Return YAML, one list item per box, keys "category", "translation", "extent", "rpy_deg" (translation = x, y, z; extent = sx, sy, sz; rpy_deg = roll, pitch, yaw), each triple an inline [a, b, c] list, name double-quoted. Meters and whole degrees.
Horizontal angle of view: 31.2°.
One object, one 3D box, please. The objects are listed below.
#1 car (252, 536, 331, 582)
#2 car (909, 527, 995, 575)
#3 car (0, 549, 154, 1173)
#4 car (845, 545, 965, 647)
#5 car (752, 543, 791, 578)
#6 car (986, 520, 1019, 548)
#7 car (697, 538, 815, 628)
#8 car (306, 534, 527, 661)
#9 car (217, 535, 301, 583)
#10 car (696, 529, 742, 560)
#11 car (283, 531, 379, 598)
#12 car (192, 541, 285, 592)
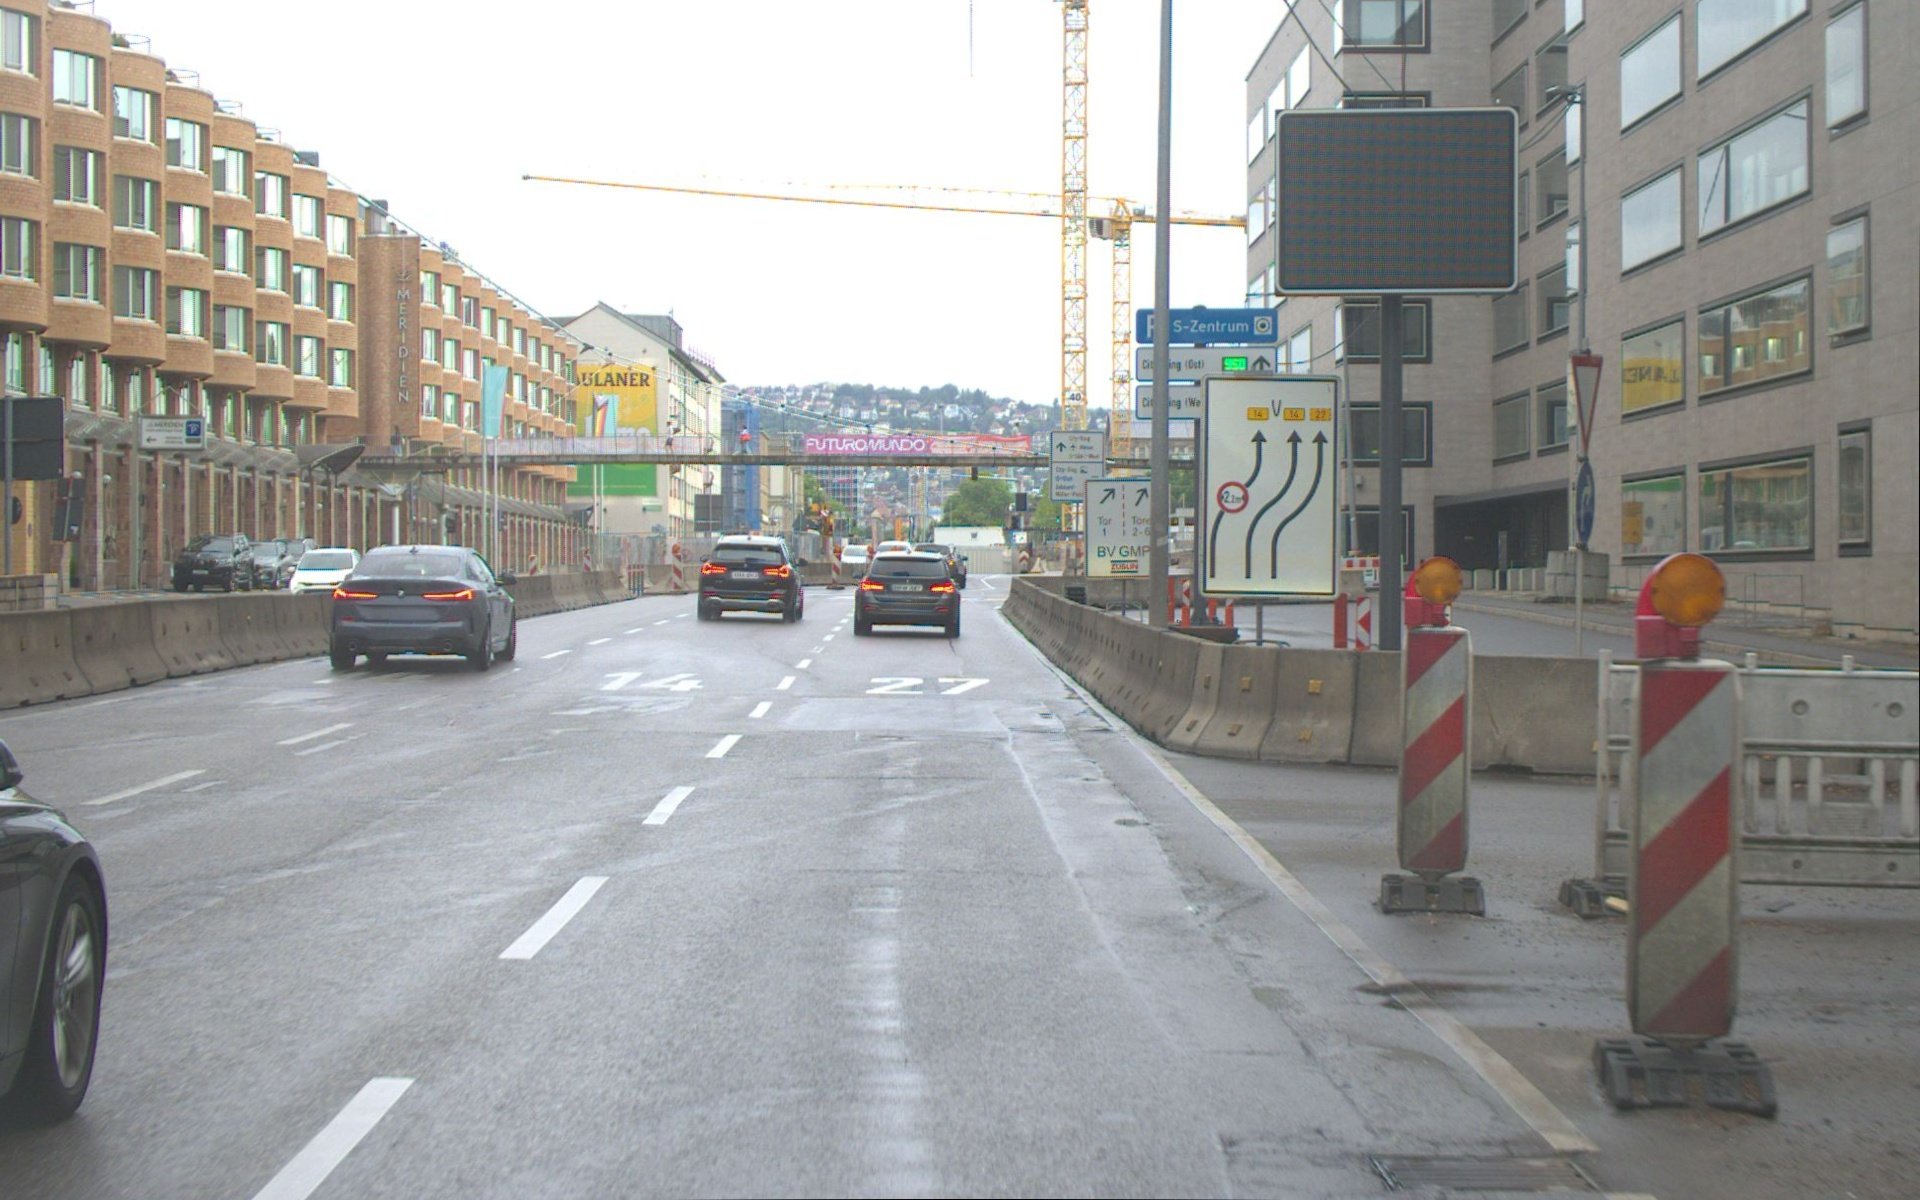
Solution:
- category: "car"
  translation: [-23.921, -1.459, 123.224]
  extent: [1.993, 1.614, 4.318]
  rpy_deg: [0, 1, 0]
- category: "car"
  translation: [-0.261, -1.730, 122.491]
  extent: [1.902, 1.687, 3.996]
  rpy_deg: [0, 1, 18]
- category: "car"
  translation: [-3.068, 0.598, 7.074]
  extent: [1.791, 1.421, 4.613]
  rpy_deg: [1, 1, -1]
- category: "car"
  translation: [-0.920, -0.089, 59.202]
  extent: [1.900, 1.687, 4.000]
  rpy_deg: [0, 1, 1]
- category: "car"
  translation: [-10.956, -2.274, 199.844]
  extent: [1.993, 2.007, 4.000]
  rpy_deg: [0, 1, 1]
- category: "car"
  translation: [2.664, -4.123, 214.642]
  extent: [1.900, 1.687, 4.000]
  rpy_deg: [0, 1, 3]
- category: "car"
  translation: [-3.941, -0.346, 67.014]
  extent: [1.900, 1.687, 4.000]
  rpy_deg: [0, 1, 3]
- category: "car"
  translation: [-6.364, -0.050, 40.678]
  extent: [1.791, 1.421, 4.384]
  rpy_deg: [0, 1, 2]
- category: "car"
  translation: [-24.055, -1.401, 118.090]
  extent: [1.993, 1.614, 4.318]
  rpy_deg: [0, 1, 0]
- category: "car"
  translation: [-12.832, -2.948, 183.098]
  extent: [1.993, 1.614, 4.763]
  rpy_deg: [0, 1, 1]
- category: "car"
  translation: [-14.679, -0.846, 80.361]
  extent: [1.602, 1.437, 3.658]
  rpy_deg: [0, 2, 0]
- category: "car"
  translation: [-23.238, -1.079, 110.846]
  extent: [1.993, 1.614, 4.763]
  rpy_deg: [0, 1, 0]
